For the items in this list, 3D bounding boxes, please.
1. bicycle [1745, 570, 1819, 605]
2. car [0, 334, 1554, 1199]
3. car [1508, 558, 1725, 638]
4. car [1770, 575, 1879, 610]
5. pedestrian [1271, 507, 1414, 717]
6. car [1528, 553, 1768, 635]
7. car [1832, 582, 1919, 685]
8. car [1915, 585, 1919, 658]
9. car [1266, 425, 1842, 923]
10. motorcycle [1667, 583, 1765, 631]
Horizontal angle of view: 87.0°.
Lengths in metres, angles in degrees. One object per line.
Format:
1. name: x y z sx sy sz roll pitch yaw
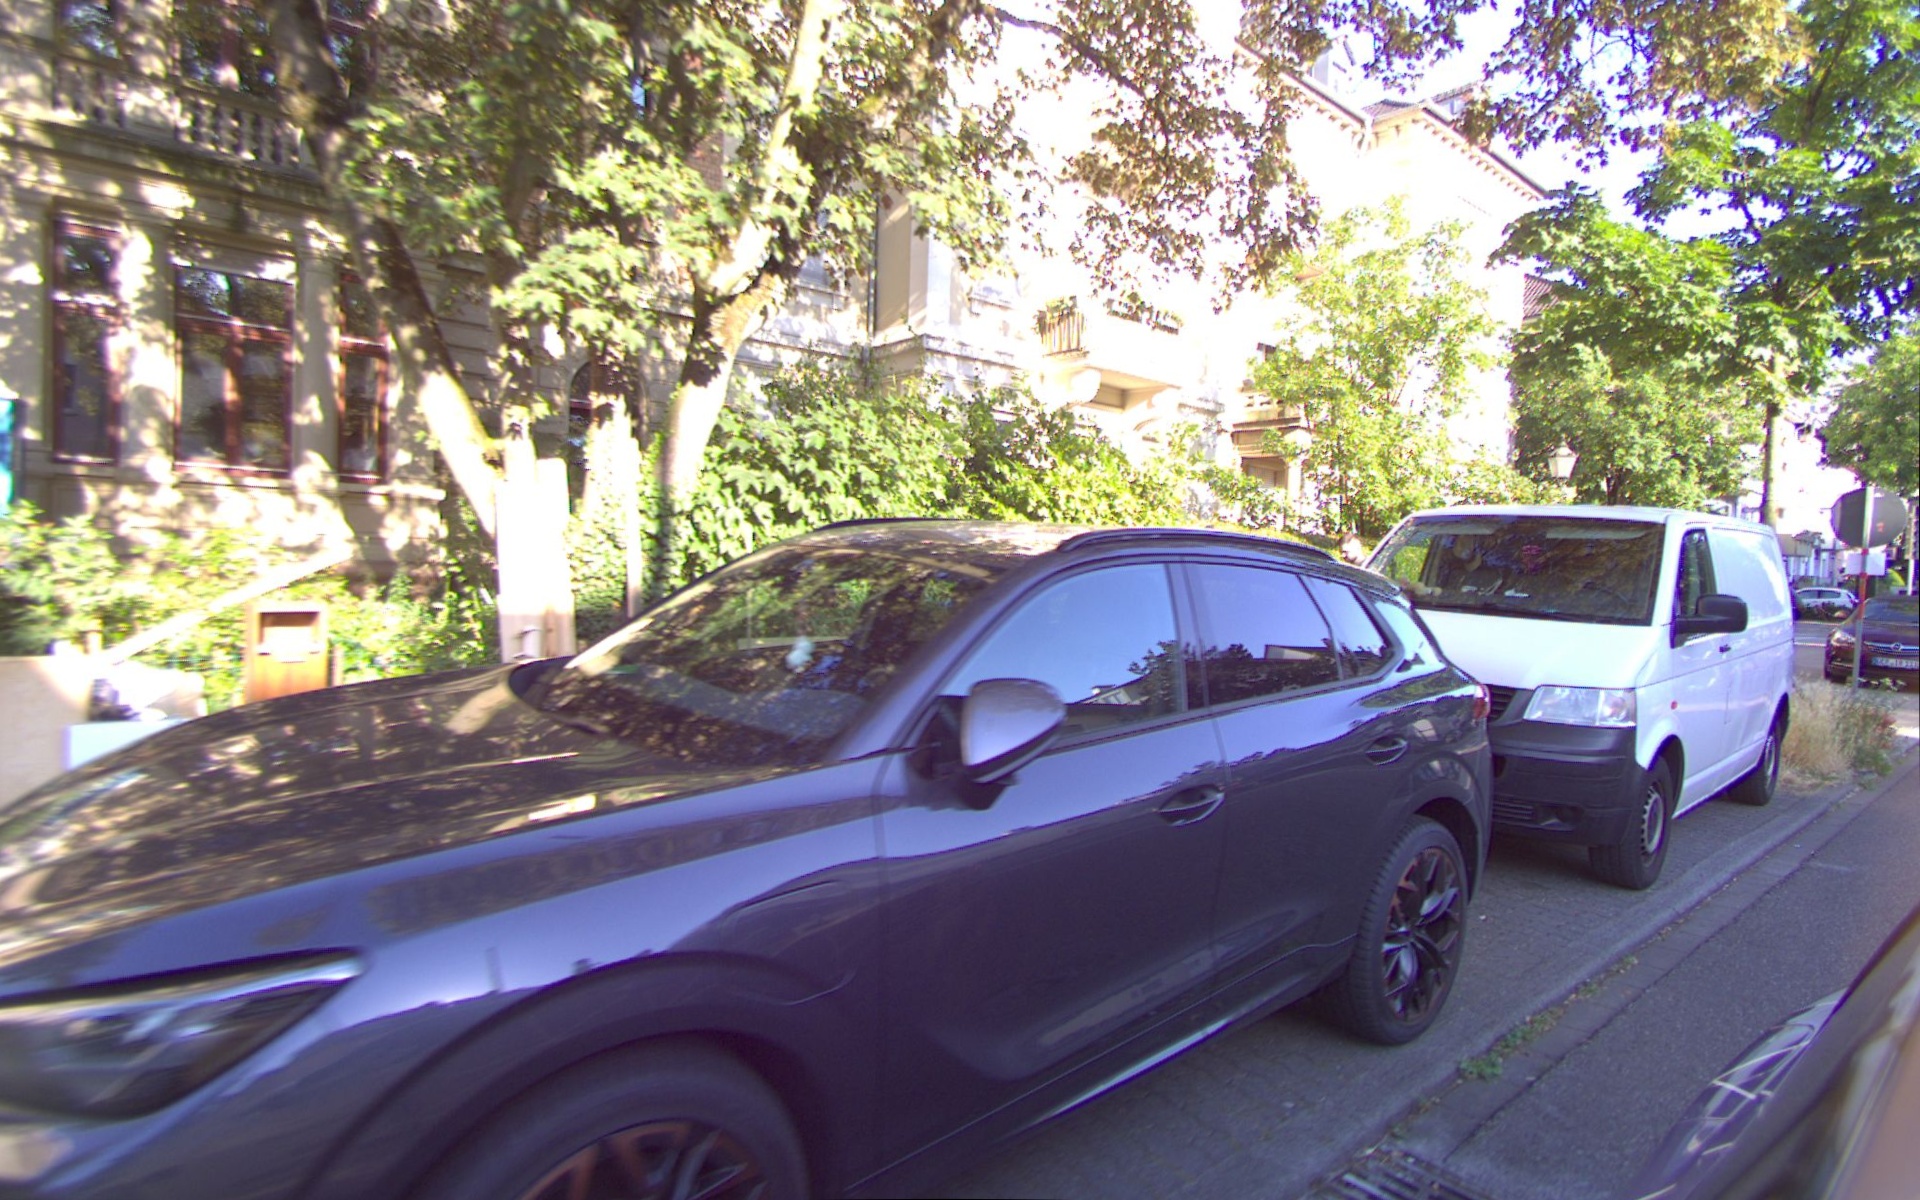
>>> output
1. bicycle: 36.813 -0.569 45.346 0.912 1.459 2.457 0 2 -42
2. car: -0.134 0.463 2.941 4.236 1.622 1.860 0 5 -41
3. car: 15.898 -0.106 24.768 4.050 1.720 1.776 3 3 21
4. car: 41.717 -0.377 48.886 1.550 1.523 3.870 -1 3 -44
5. pedestrian: 3.535 0.082 9.342 1.071 1.795 0.821 0 2 -44
6. car: 17.997 -0.214 26.796 4.881 1.923 1.907 2 2 22
7. car: 15.625 0.498 16.236 4.534 1.437 1.761 -1 5 -41
8. car: 21.932 0.463 21.533 4.540 1.496 1.825 0 2 -40
9. car: 4.080 0.263 6.566 4.561 2.129 1.906 -1 2 -42
10. motorcycle: 21.307 0.177 28.557 2.153 1.255 0.778 3 2 40
